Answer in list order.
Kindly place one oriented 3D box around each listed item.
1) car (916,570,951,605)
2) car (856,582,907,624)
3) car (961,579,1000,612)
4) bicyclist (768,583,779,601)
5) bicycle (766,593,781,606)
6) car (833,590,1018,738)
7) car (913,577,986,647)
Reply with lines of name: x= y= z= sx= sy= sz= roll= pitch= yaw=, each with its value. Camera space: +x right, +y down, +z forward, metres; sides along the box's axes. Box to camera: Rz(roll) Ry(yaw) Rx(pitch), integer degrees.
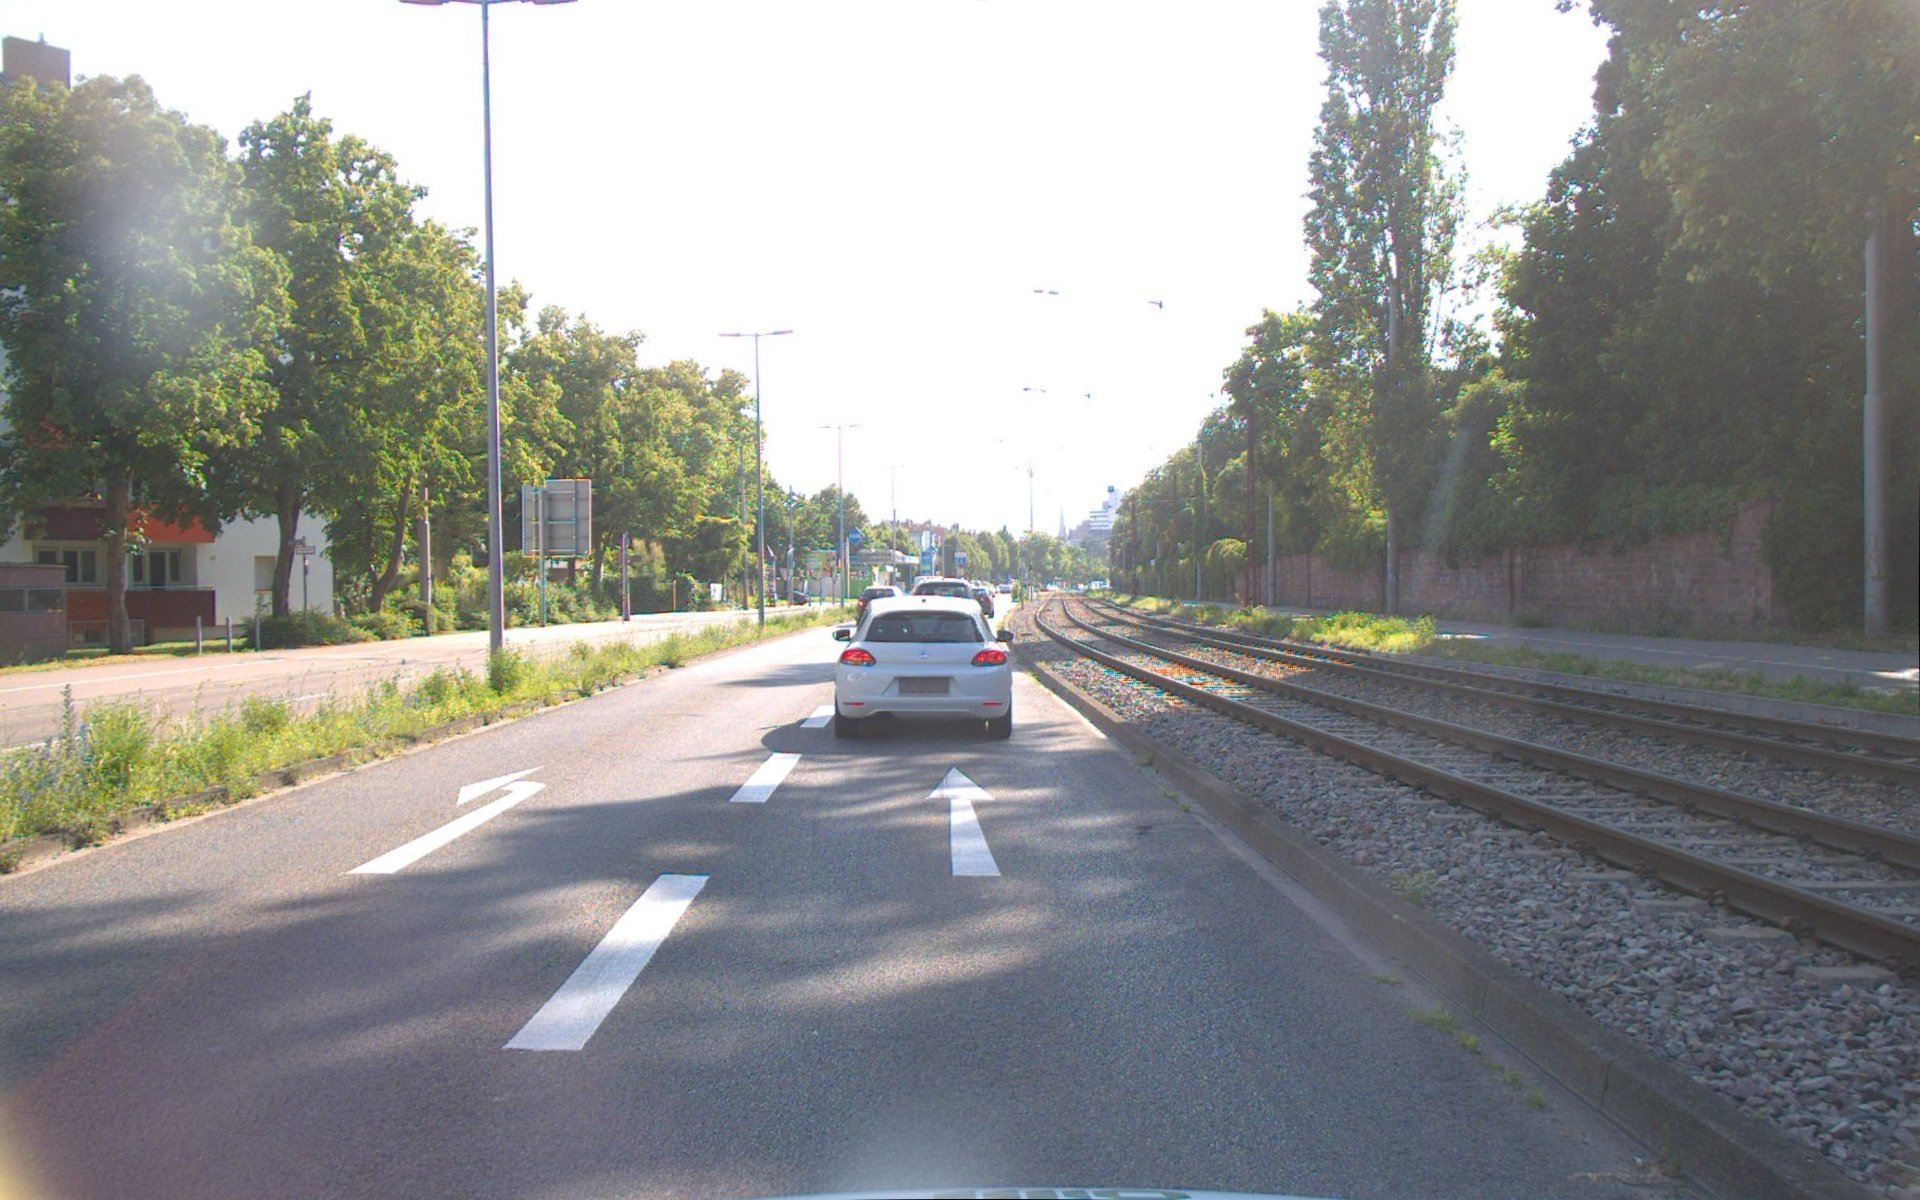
car: x=-1.538 y=-0.745 z=97.867 sx=1.780 sy=1.997 sz=4.404 roll=-1 pitch=0 yaw=2
car: x=-2.953 y=0.101 z=62.861 sx=1.724 sy=1.511 sz=4.645 roll=1 pitch=1 yaw=0
car: x=0.938 y=-0.222 z=77.291 sx=1.713 sy=1.511 sz=3.601 roll=1 pitch=1 yaw=0
bicyclist: x=-15.378 y=-0.688 z=136.529 sx=0.647 sy=1.478 sz=1.052 roll=-1 pitch=0 yaw=7
bicycle: x=-15.380 y=-0.067 z=136.457 sx=0.647 sy=1.067 sz=2.582 roll=-1 pitch=0 yaw=7
car: x=-0.335 y=0.597 z=17.526 sx=1.744 sy=1.380 sz=3.601 roll=1 pitch=1 yaw=0
car: x=-0.254 y=0.259 z=40.390 sx=1.689 sy=1.620 sz=3.601 roll=1 pitch=1 yaw=0
